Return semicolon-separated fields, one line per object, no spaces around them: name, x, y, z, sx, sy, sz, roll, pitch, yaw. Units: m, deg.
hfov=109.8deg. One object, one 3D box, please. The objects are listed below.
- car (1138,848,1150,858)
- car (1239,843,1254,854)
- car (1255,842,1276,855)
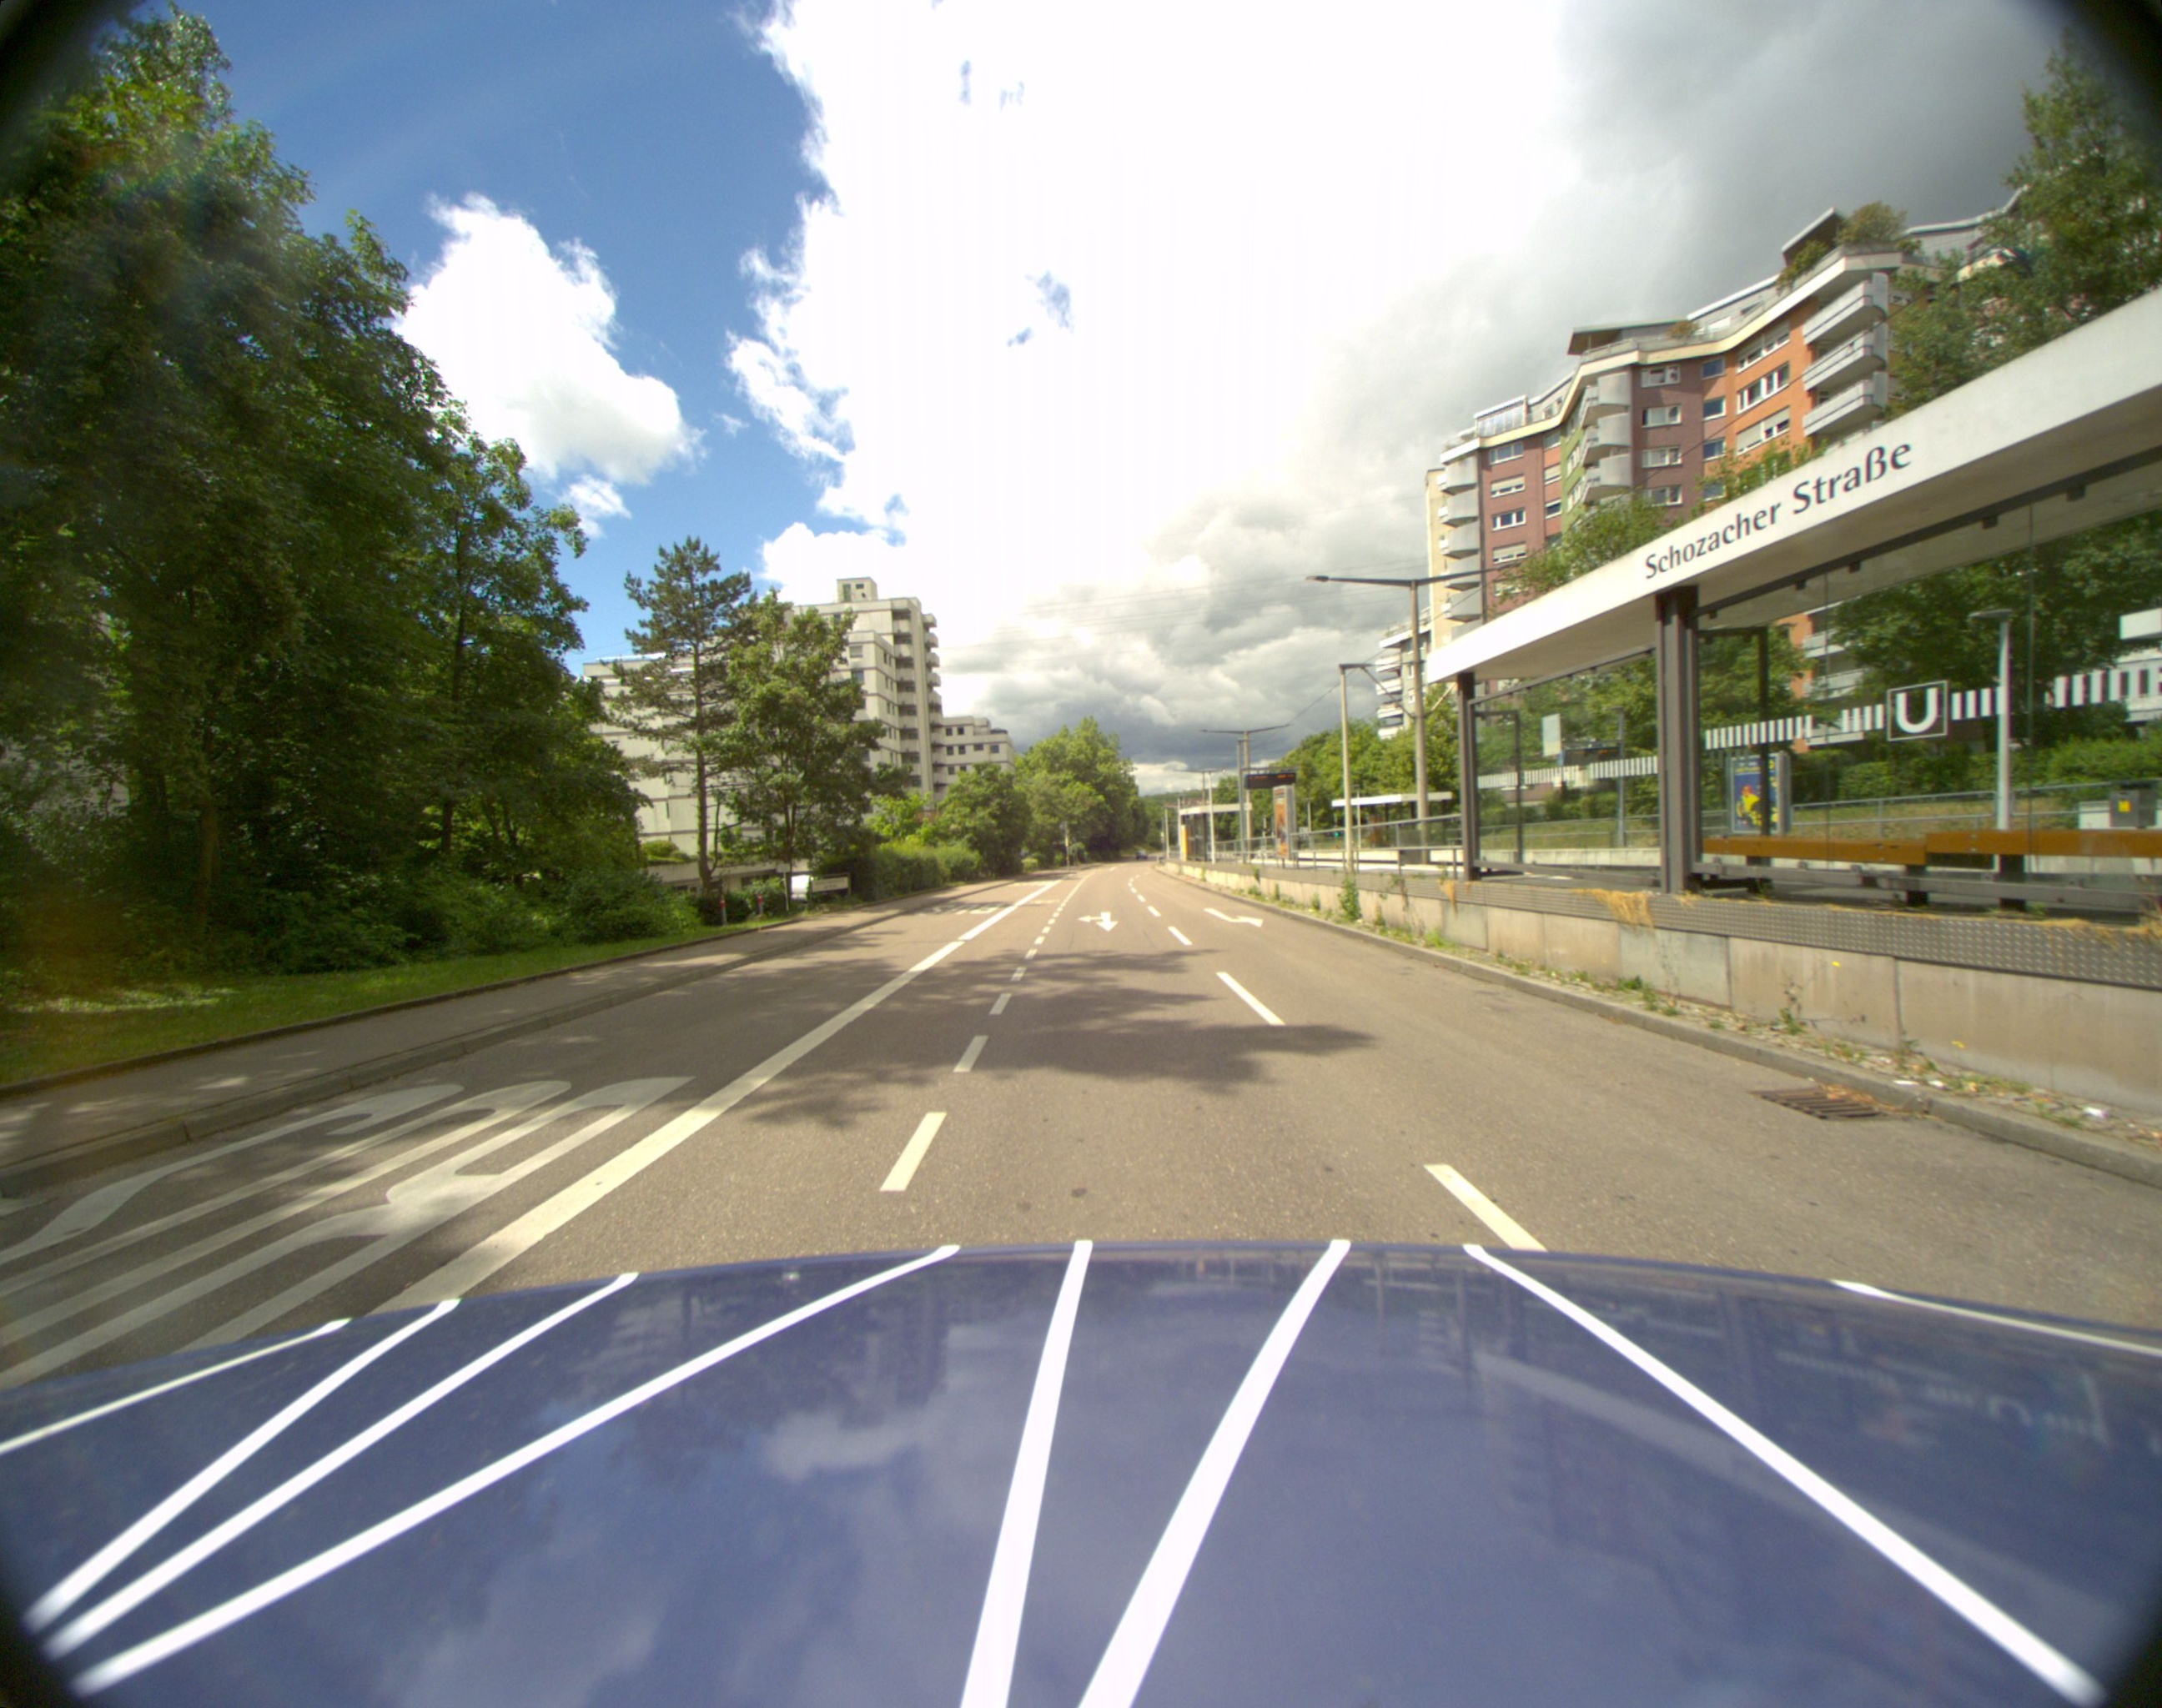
car;9.678;-0.207;115.991;1.736;1.477;3.817;-2;1;5
car;23.985;-0.833;110.107;1.658;1.504;3.738;-2;1;5
car;22.709;-0.681;93.718;1.658;1.410;4.000;-2;0;1
